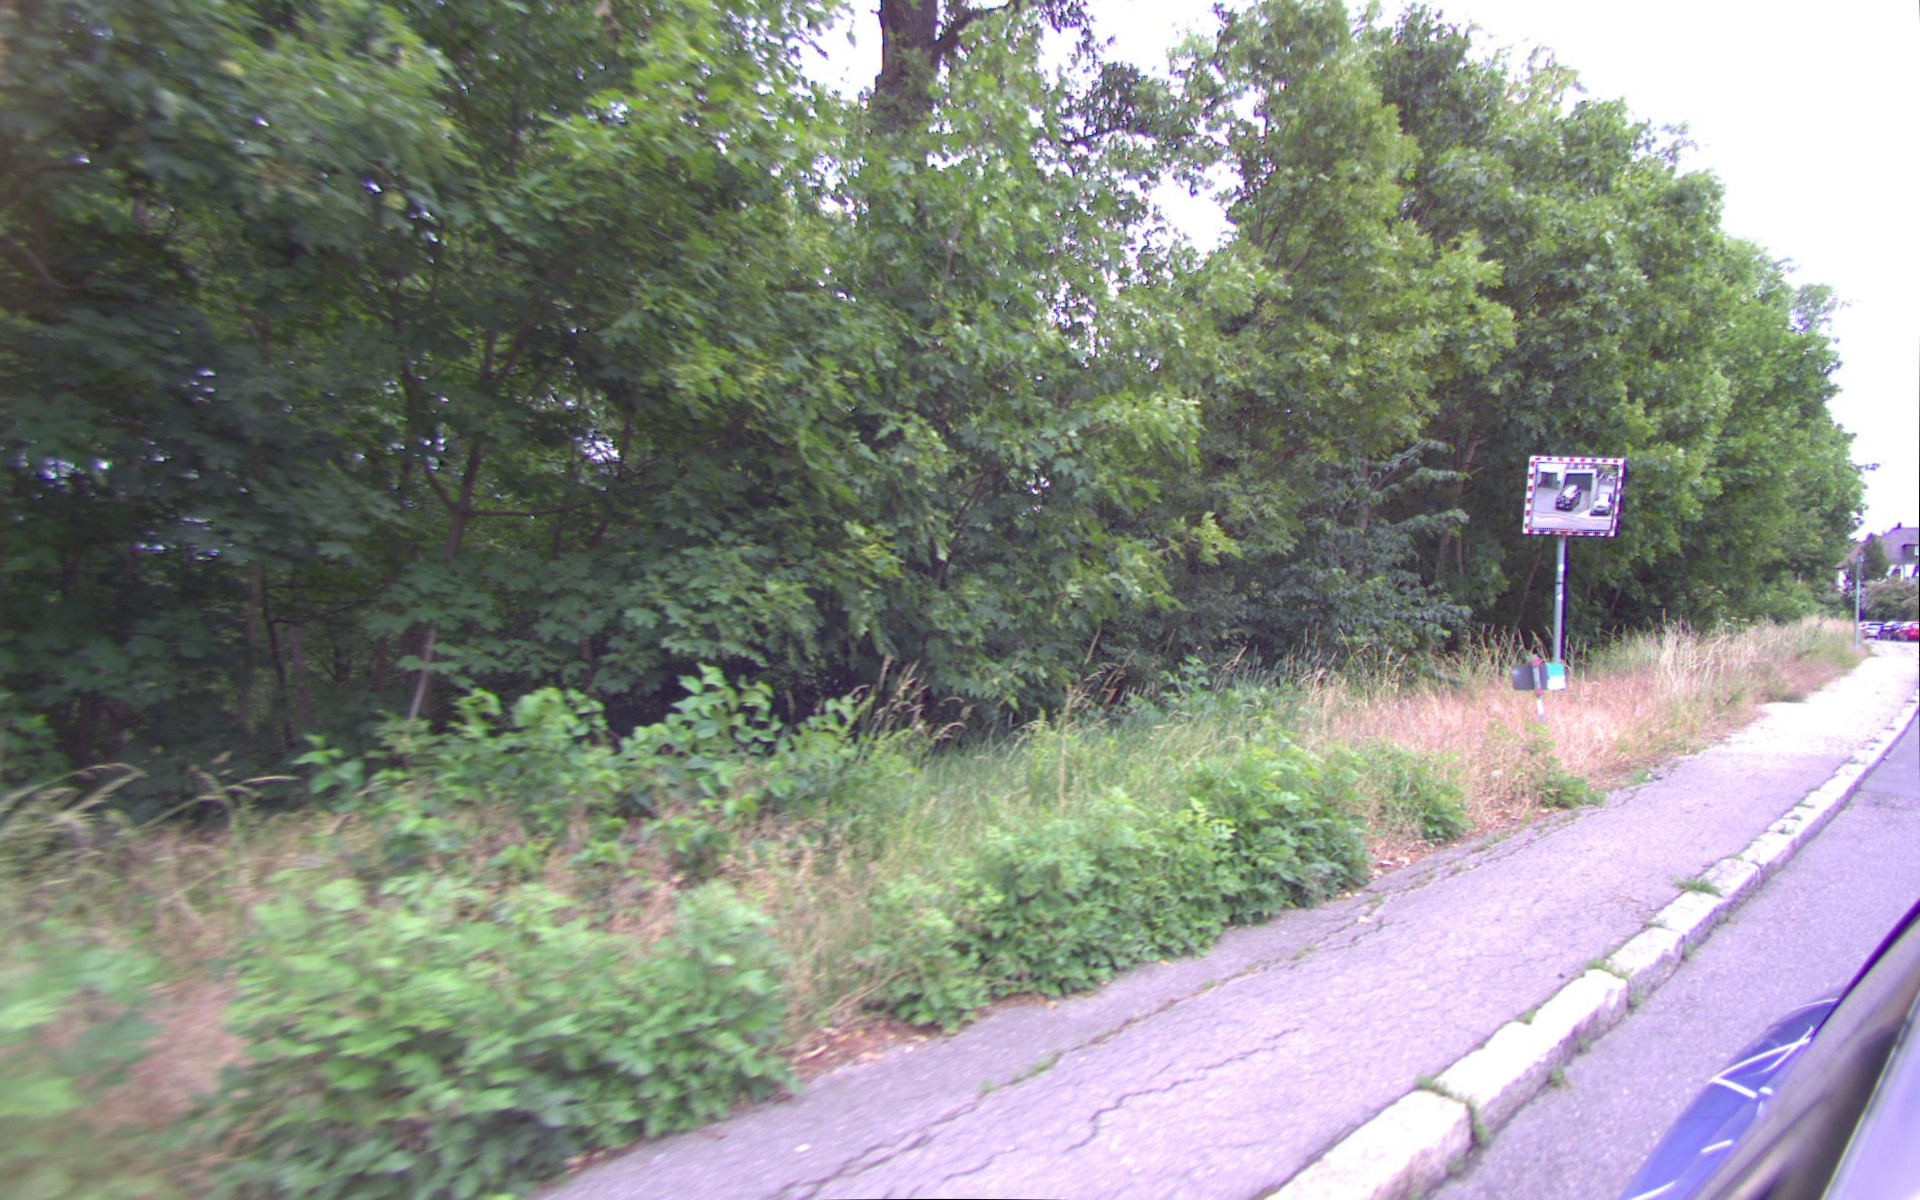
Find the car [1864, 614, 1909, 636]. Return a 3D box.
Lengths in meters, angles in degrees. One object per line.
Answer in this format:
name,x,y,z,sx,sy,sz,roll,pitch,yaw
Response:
car,74.883,2.002,81.833,1.986,1.710,4.653,0,0,34

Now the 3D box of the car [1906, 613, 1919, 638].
car,70.221,1.836,73.017,1.985,1.710,4.656,0,0,32
